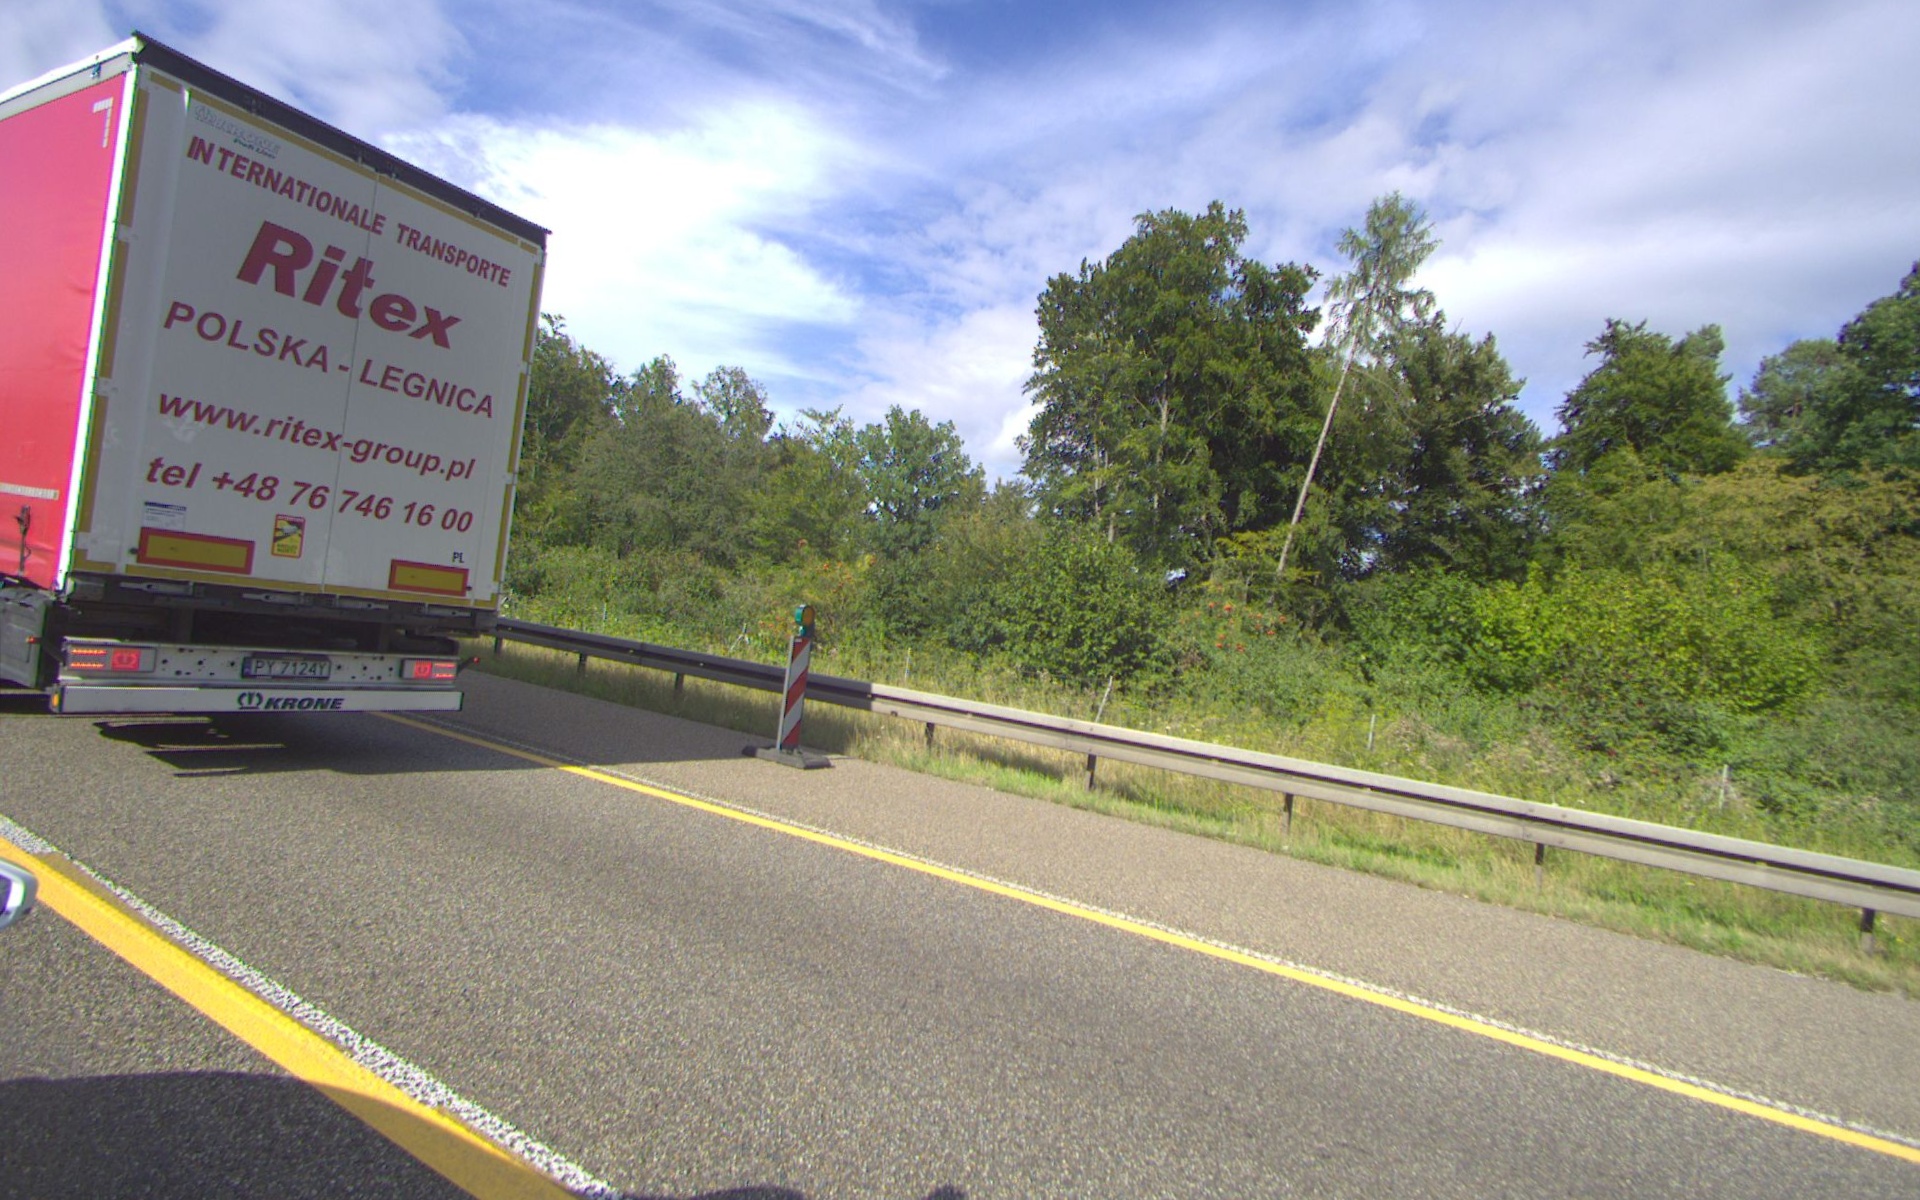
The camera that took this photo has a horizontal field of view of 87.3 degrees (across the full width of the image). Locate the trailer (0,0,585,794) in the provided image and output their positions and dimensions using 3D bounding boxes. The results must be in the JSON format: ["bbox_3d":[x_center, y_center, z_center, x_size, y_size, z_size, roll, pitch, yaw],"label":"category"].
[{"bbox_3d":[-9.262,-1.558,9.557,13.193,4.015,2.705,7,-1,31],"label":"trailer"}]

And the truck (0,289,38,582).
[{"bbox_3d":[-15.010,-2.237,13.054,5.615,4.006,2.673,7,-1,31],"label":"truck"}]
